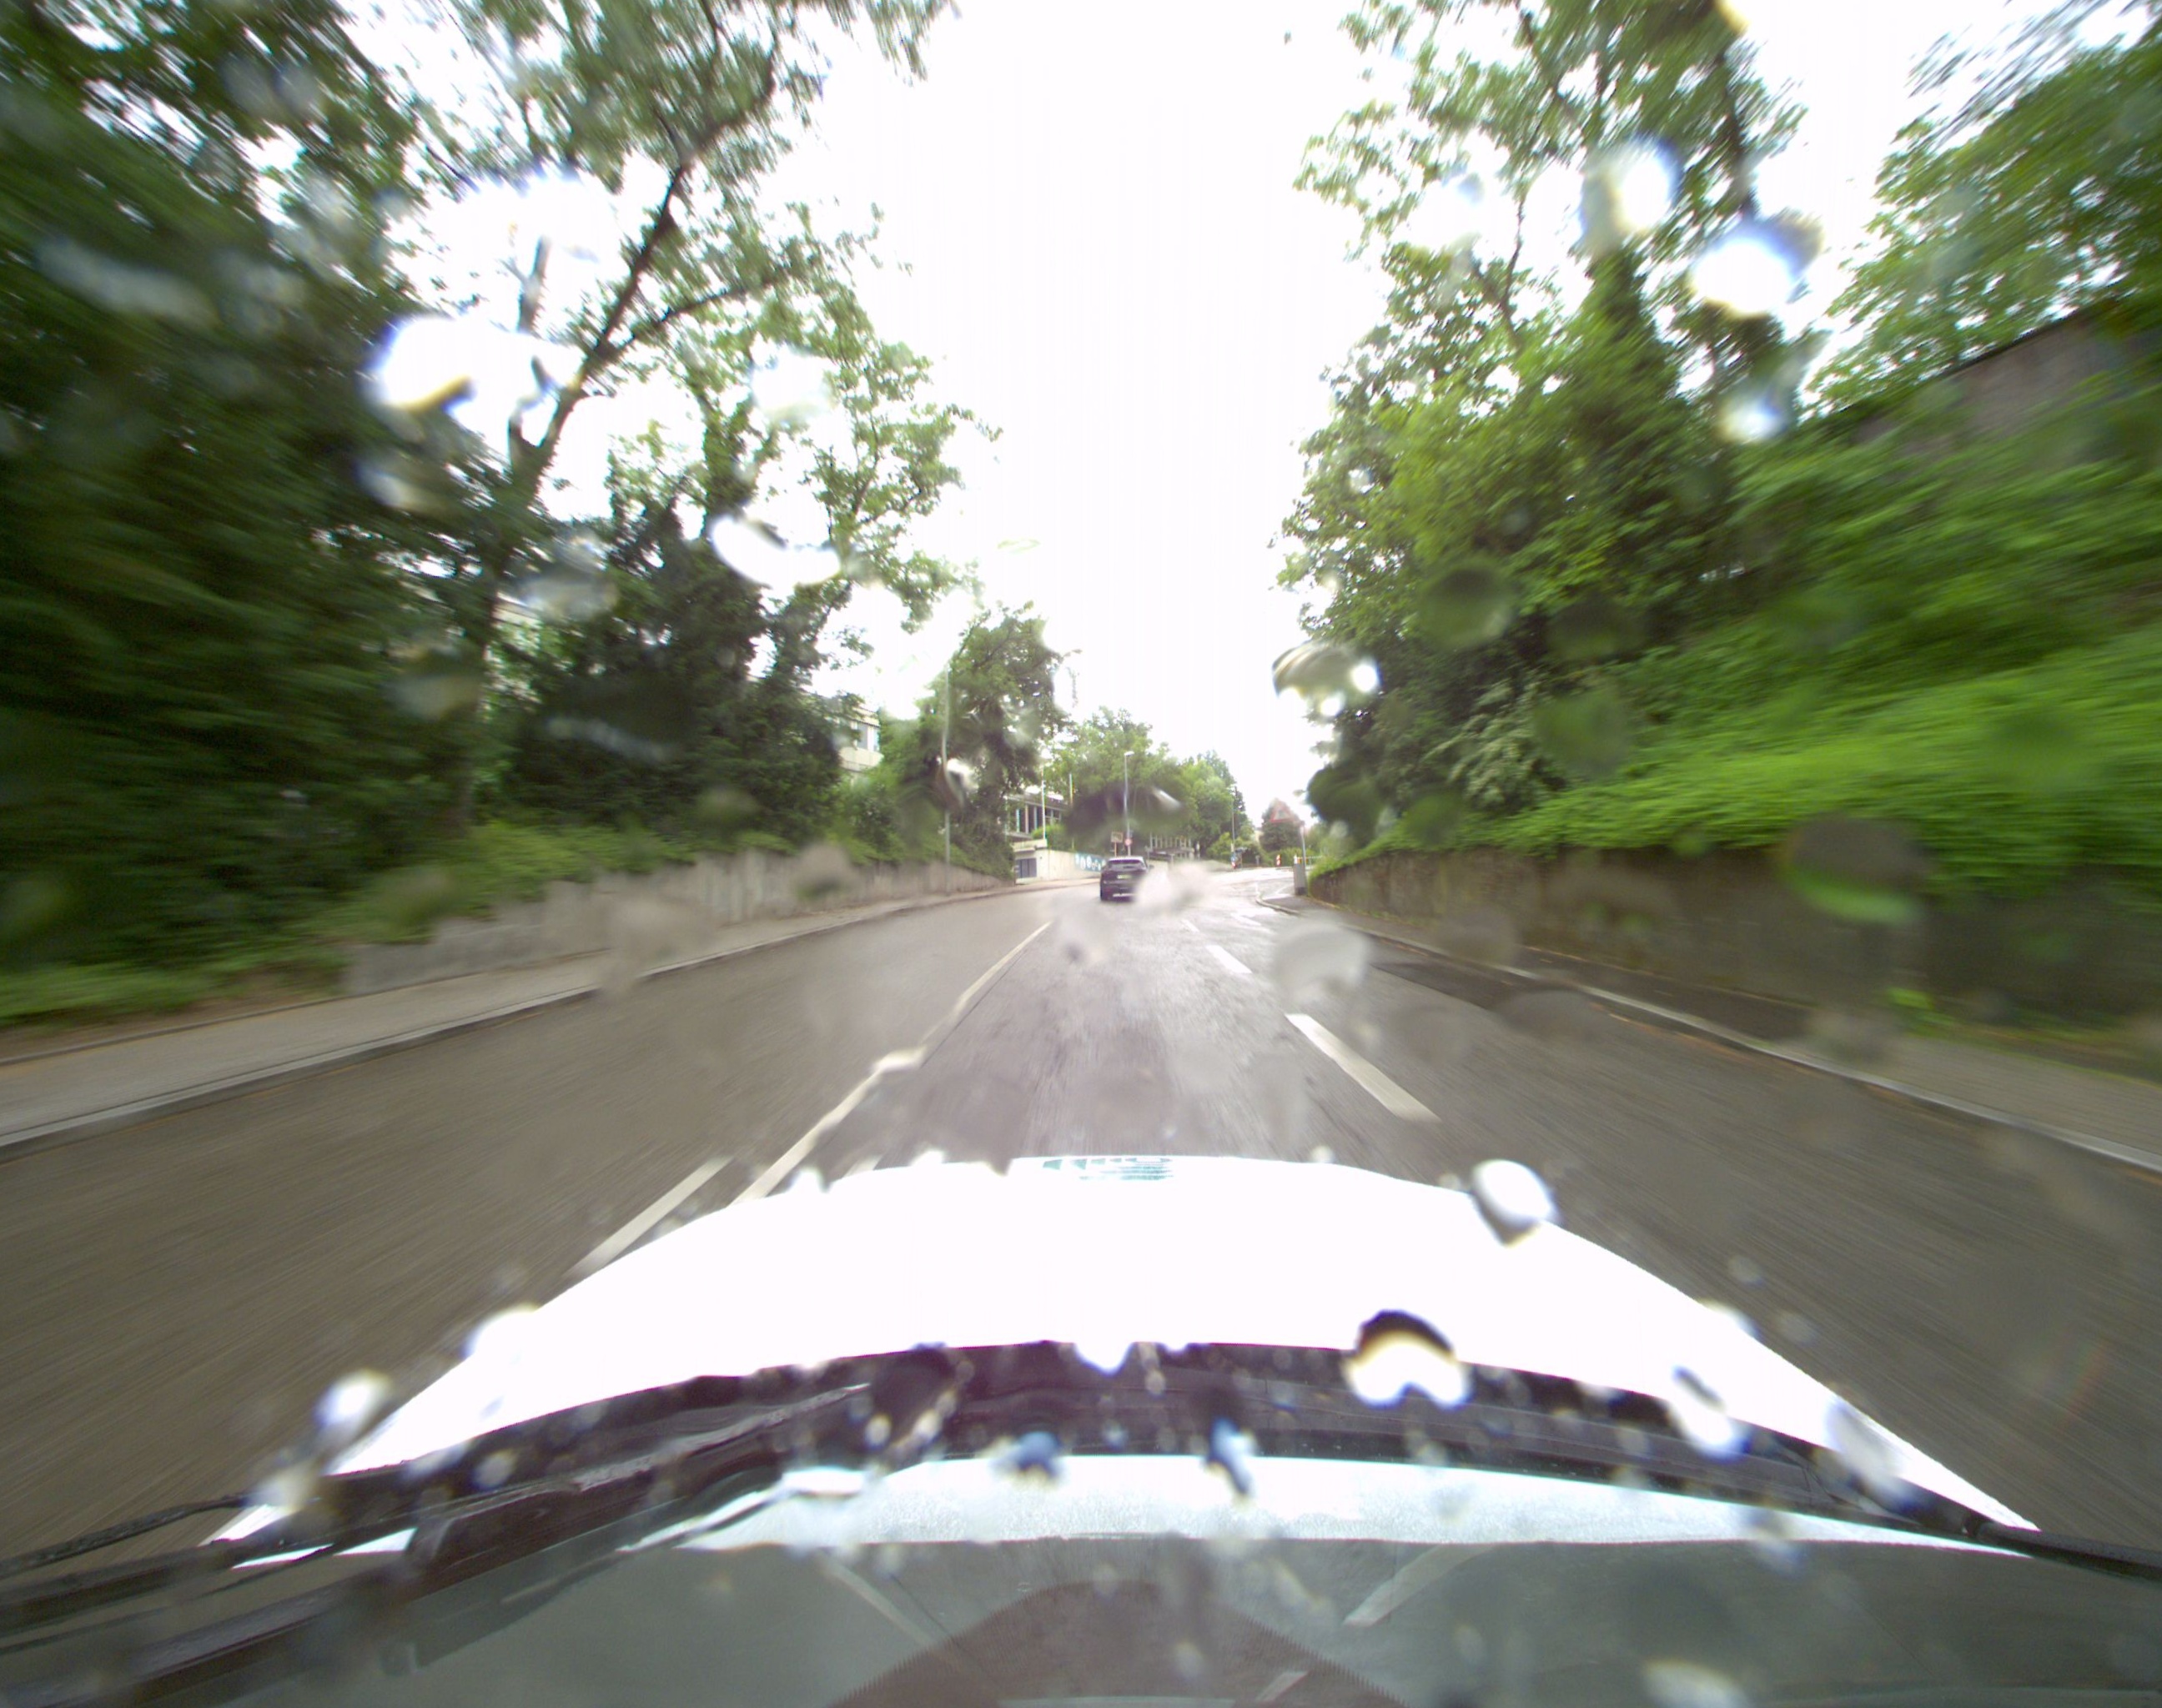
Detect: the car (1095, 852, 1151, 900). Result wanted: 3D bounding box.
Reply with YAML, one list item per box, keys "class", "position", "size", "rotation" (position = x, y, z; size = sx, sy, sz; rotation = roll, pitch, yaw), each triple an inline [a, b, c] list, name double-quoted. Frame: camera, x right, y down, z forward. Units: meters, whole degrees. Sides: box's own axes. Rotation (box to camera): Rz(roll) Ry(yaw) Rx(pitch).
- class: "car"
  position: [1.527, 0.780, 30.740]
  size: [1.921, 1.613, 4.001]
  rotation: [-2, 0, 1]
